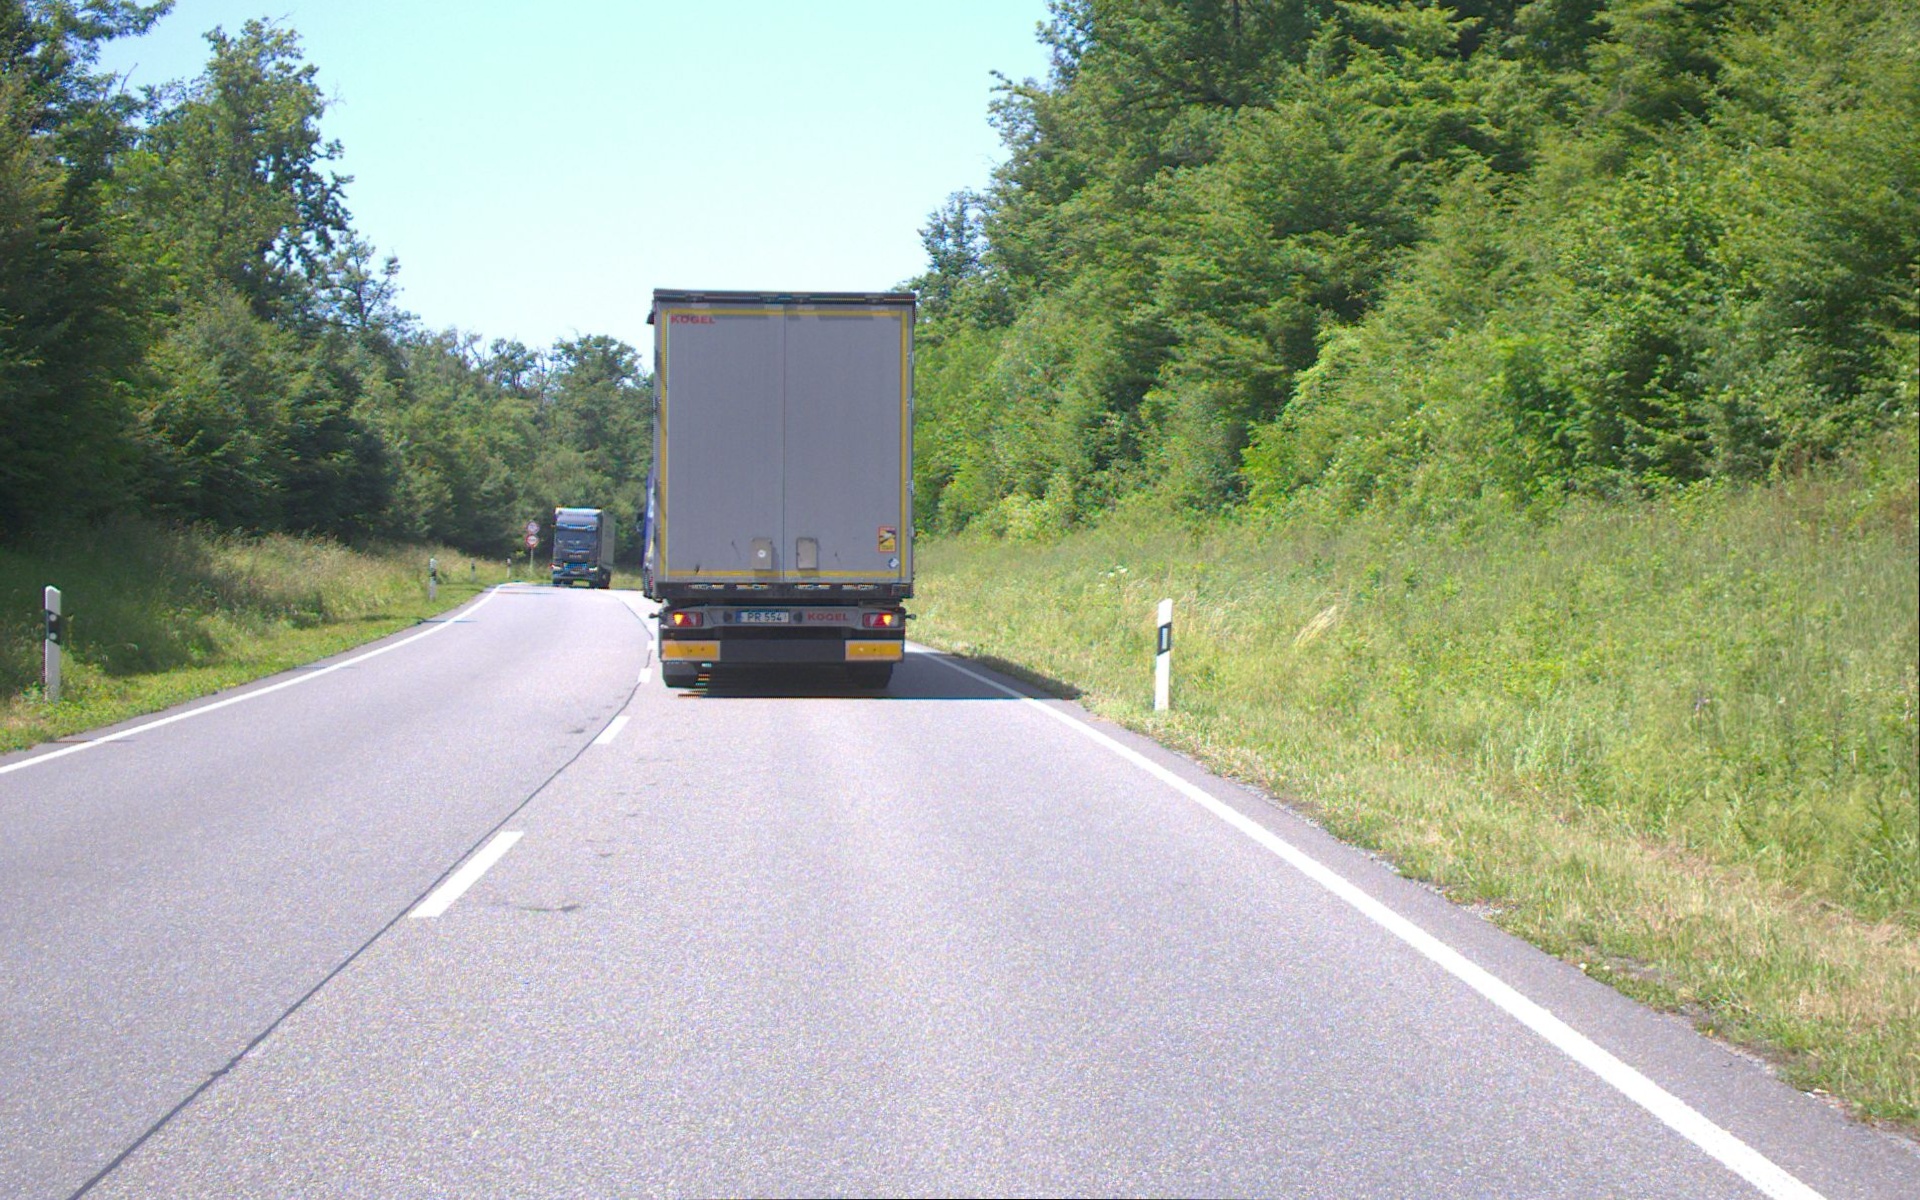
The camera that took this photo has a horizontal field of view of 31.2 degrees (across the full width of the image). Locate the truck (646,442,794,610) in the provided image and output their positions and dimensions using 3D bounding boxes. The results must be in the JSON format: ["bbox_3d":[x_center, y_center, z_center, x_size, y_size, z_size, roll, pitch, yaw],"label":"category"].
[{"bbox_3d":[-7.046,-2.060,99.364,3.793,4.358,14.922,2,0,-5],"label":"truck"}]

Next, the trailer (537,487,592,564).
[{"bbox_3d":[-22.501,-4.225,195.456,2.941,4.238,13.623,0,1,-7],"label":"trailer"}]

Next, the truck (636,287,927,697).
[{"bbox_3d":[-2.066,-1.157,39.454,2.761,3.933,12.199,1,1,-3],"label":"truck"}]

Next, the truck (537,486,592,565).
[{"bbox_3d":[-21.707,-4.082,188.593,2.922,4.201,5.344,0,1,-7],"label":"truck"}]
